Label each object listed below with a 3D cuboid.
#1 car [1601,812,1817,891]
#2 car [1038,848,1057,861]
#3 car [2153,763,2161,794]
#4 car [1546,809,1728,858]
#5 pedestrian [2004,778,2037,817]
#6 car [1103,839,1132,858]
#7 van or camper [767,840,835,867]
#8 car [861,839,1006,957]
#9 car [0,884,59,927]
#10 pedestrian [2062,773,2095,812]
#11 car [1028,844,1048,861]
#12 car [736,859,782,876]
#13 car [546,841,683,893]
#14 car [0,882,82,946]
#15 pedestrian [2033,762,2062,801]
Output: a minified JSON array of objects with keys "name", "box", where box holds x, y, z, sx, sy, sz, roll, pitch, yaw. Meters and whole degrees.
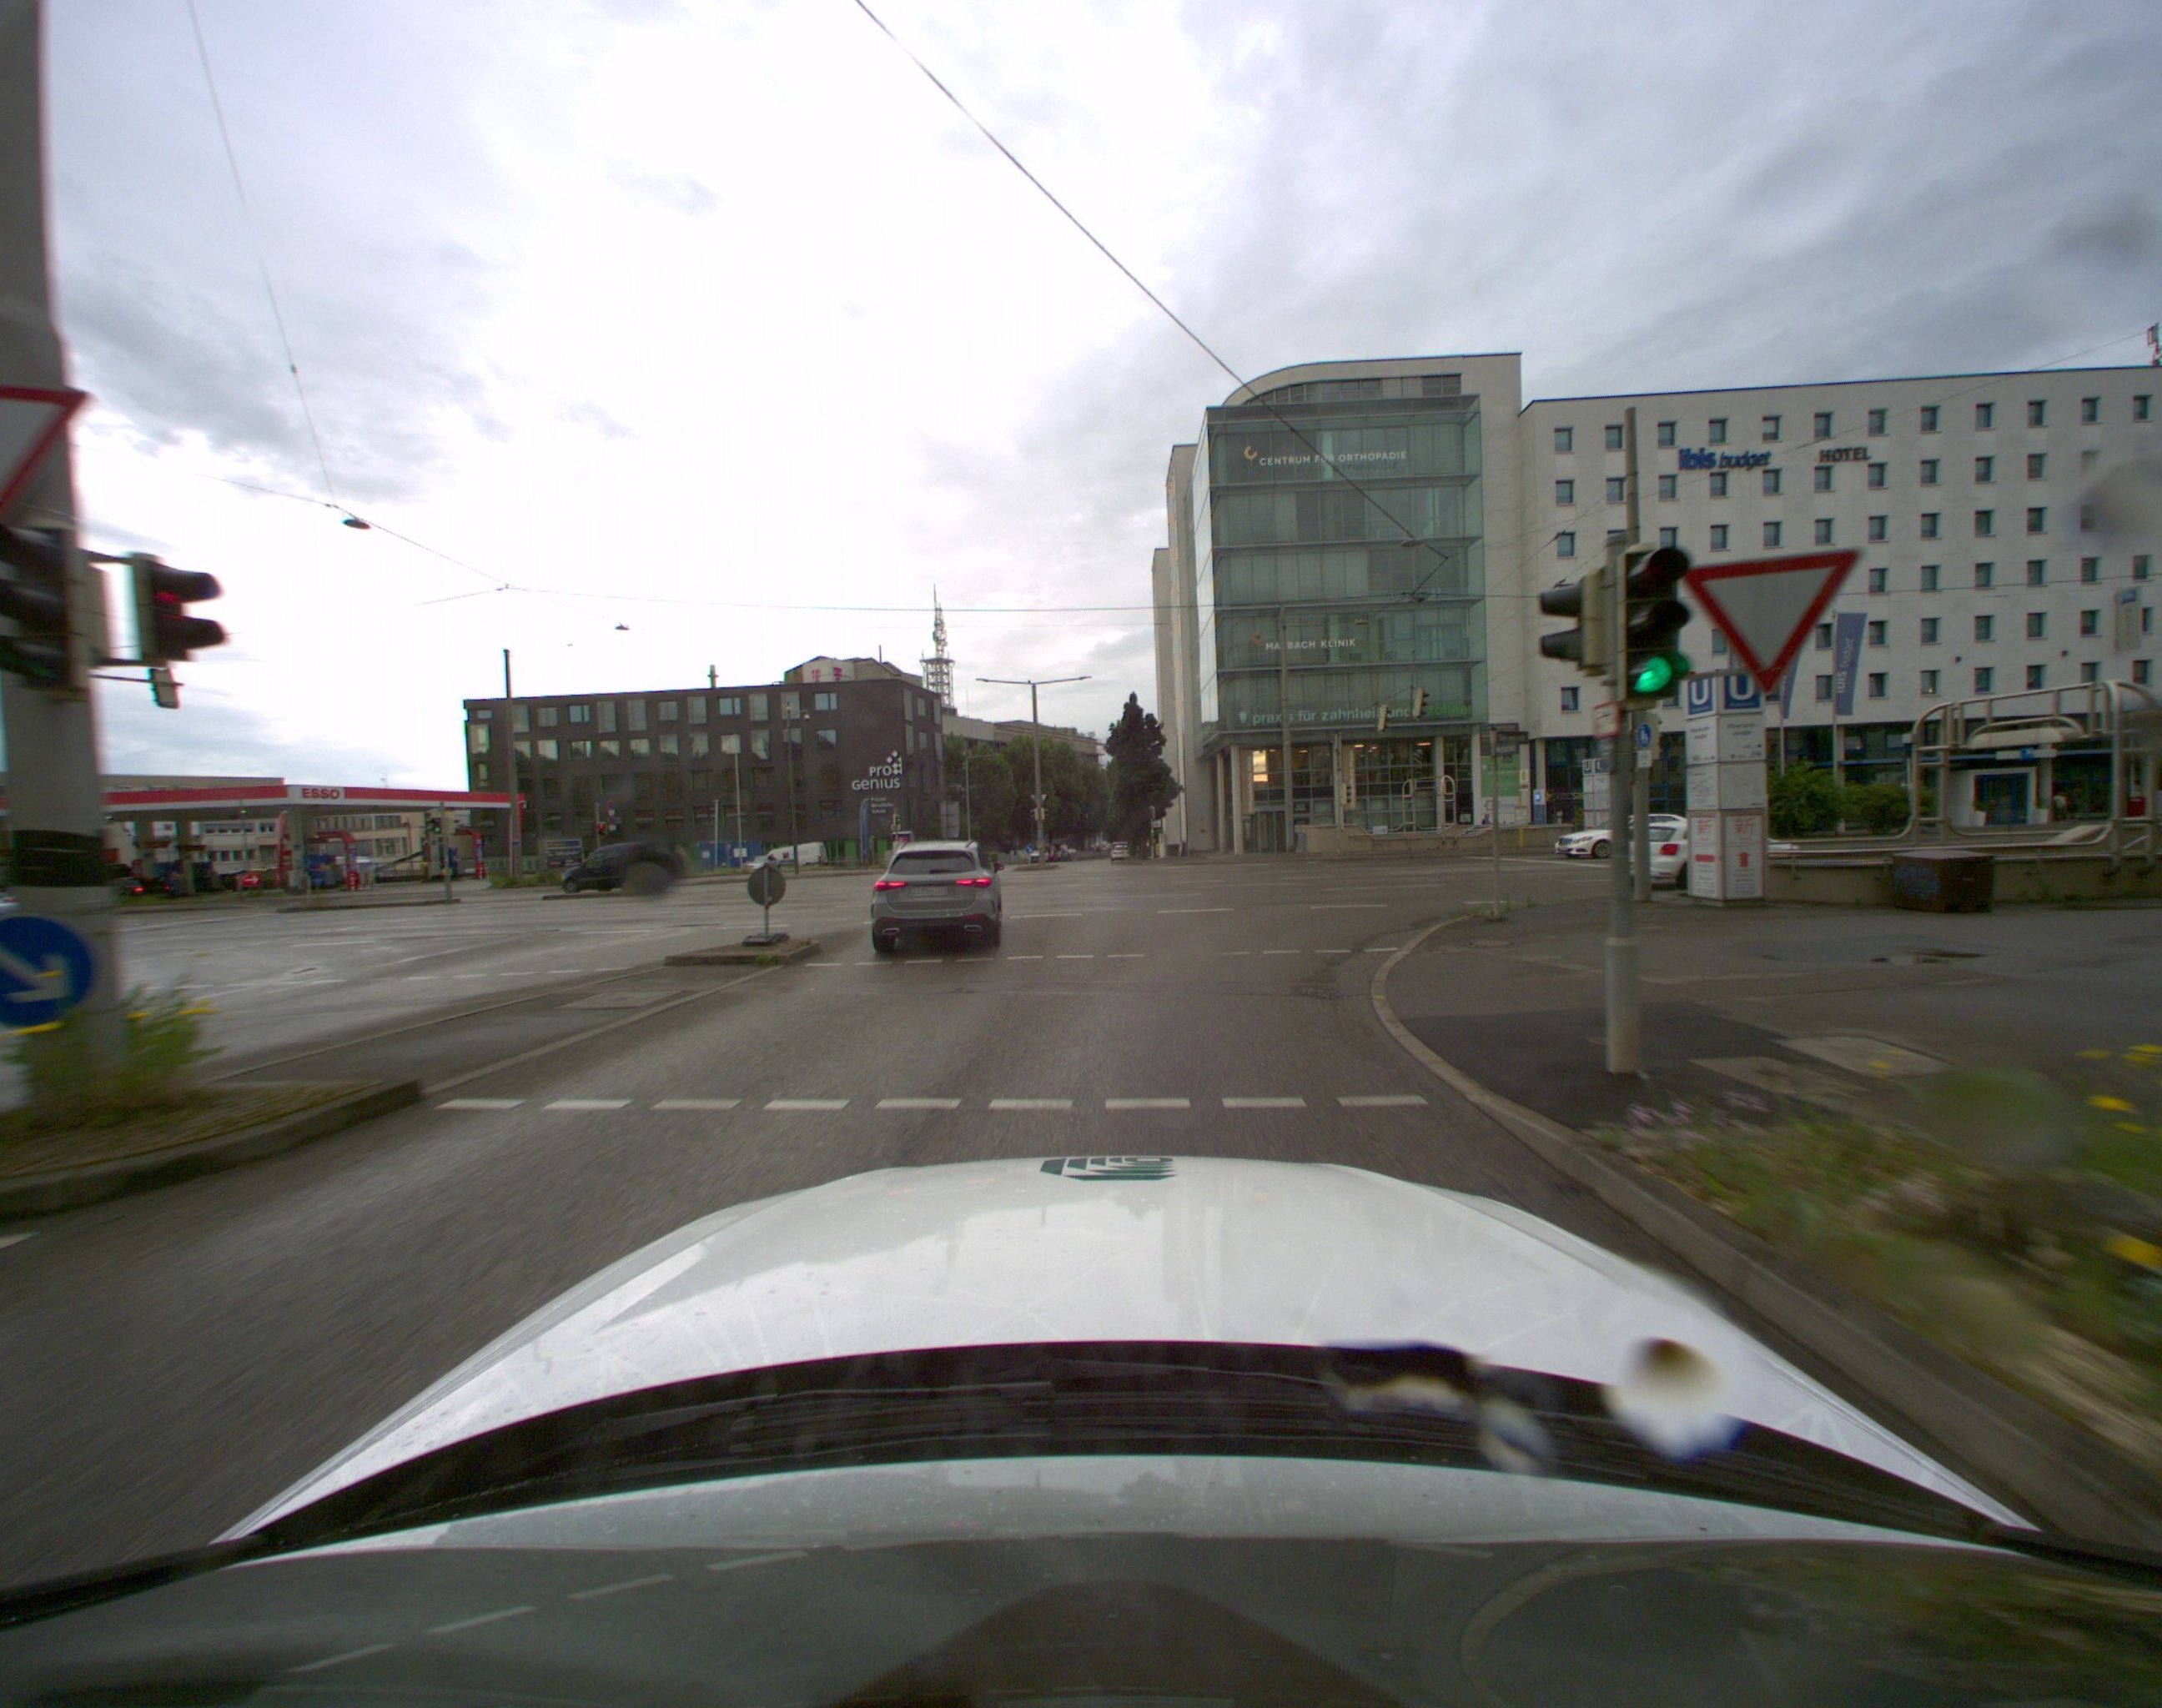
[{"name":"car","box":[13.796,-0.105,17.971,3.766,1.473,1.671,-3,3,-9]},{"name":"car","box":[-4.296,0.097,104.319,1.669,1.594,3.866,0,0,8]},{"name":"car","box":[73.030,-5.041,52.461,1.879,2.013,4.731,-1,0,2]},{"name":"car","box":[18.708,-0.701,27.545,4.930,1.386,1.824,-2,2,0]},{"name":"pedestrian","box":[50.419,-3.015,43.706,0.809,2.013,0.805,-1,0,3]},{"name":"car","box":[3.244,-0.495,73.433,1.992,1.717,3.990,-1,0,-8]},{"name":"van or camper","box":[-26.129,-0.042,76.068,5.310,2.368,2.740,-1,0,1]},{"name":"car","box":[-2.258,0.577,13.523,1.905,1.632,4.205,-1,1,-4]},{"name":"car","box":[-44.519,2.072,32.461,4.475,1.579,1.994,-1,0,-9]},{"name":"pedestrian","box":[53.357,-3.271,43.555,0.889,2.013,0.820,0,0,31]},{"name":"car","box":[-5.206,-0.179,98.998,1.986,2.013,4.002,-1,0,2]},{"name":"car","box":[-26.133,1.052,66.243,1.787,1.288,4.007,0,0,6]},{"name":"car","box":[-17.043,0.462,29.830,4.089,1.768,1.865,-1,1,13]},{"name":"car","box":[-30.732,1.733,22.277,4.233,1.525,1.967,-3,3,1]},{"name":"pedestrian","box":[51.956,-3.897,43.787,0.806,2.013,0.808,-1,0,-26]}]
